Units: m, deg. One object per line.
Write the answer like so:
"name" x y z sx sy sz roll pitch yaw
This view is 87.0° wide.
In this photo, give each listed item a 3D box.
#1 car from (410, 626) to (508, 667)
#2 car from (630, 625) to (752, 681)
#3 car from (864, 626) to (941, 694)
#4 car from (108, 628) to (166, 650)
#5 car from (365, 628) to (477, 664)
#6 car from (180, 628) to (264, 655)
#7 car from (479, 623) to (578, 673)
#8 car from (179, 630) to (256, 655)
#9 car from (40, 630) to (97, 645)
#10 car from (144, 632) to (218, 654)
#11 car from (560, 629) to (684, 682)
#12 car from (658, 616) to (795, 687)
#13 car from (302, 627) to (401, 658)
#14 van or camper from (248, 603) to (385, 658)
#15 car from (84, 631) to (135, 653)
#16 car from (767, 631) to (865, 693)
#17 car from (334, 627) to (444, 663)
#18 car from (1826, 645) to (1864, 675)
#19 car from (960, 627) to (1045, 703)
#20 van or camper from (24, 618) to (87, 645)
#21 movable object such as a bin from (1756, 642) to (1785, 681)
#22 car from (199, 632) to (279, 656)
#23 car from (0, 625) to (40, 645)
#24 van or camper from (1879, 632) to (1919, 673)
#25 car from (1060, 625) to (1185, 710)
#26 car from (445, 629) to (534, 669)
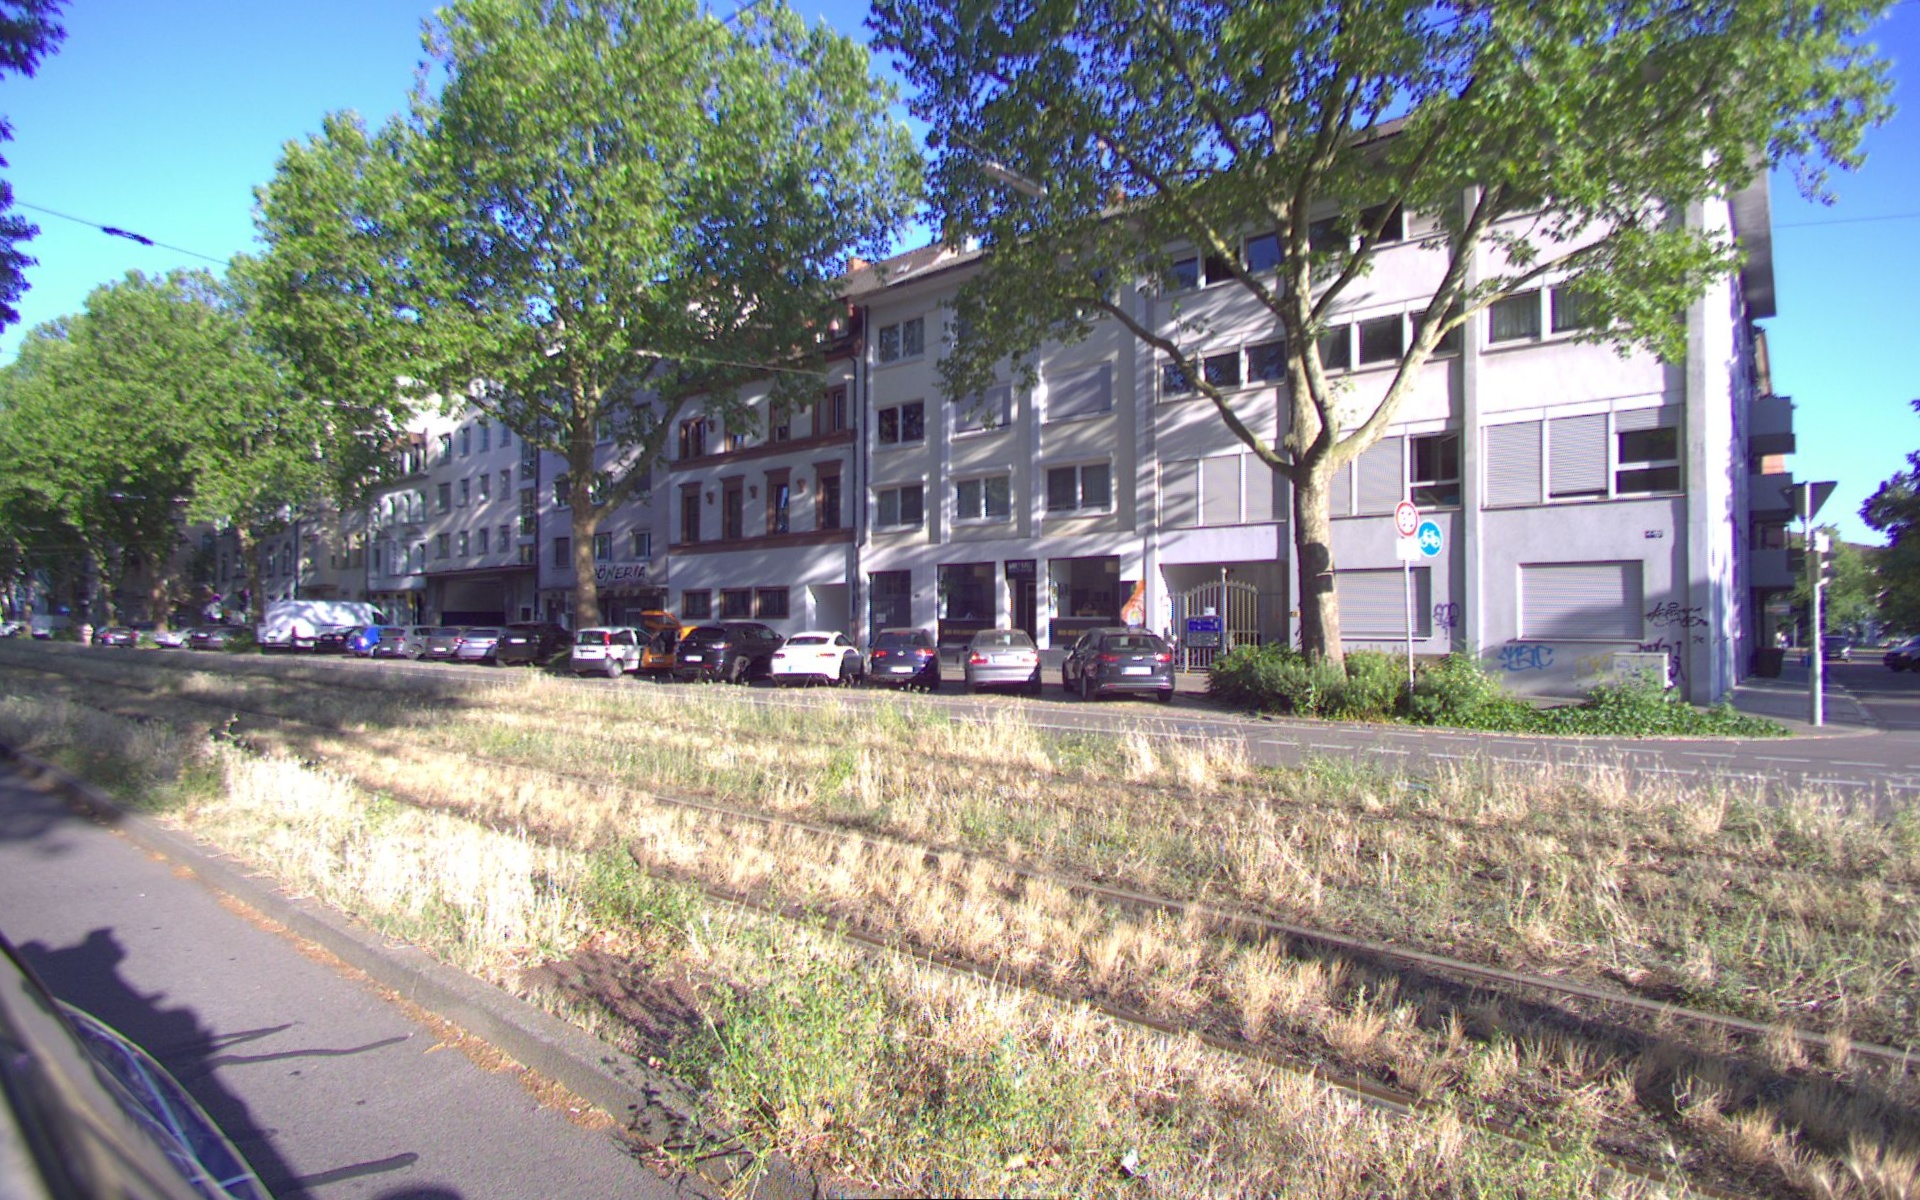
"car" -20.541 1.876 41.666 1.735 1.433 3.993 -1 0 6
"car" -8.364 1.616 31.792 1.764 1.490 3.974 -1 0 20
"car" -1.443 1.456 25.681 1.776 1.452 4.002 -1 0 -3
"car" -63.514 3.023 78.203 1.703 1.666 4.008 0 -2 -10
"car" -23.605 1.987 44.434 1.941 1.503 3.964 -1 -2 27
"car" -45.533 2.598 62.544 1.912 1.605 4.155 0 -4 4
"car" -15.684 1.703 37.015 1.972 1.673 4.000 -1 -1 -1
"car" -47.733 2.774 65.172 1.803 1.545 3.994 0 -3 4
"car" -86.021 3.612 97.685 1.709 1.256 3.993 -1 1 6
"car" -51.790 2.817 67.338 1.806 1.400 3.670 0 -2 9
"car" -10.465 1.684 31.693 1.643 1.460 4.345 0 -1 14
"car" -6.462 1.458 28.603 1.975 1.800 4.343 1 -3 14
"car" -30.748 2.131 51.253 1.984 1.502 3.975 -1 -2 18
"van or camper" -33.113 1.589 52.365 2.162 2.666 5.929 -1 -2 19
"car" -56.618 2.785 67.359 4.480 1.400 1.802 -1 -4 40
"car" -3.696 1.570 26.685 1.700 1.343 4.200 -1 0 4
"car" -26.031 2.003 46.237 1.854 1.431 3.951 -1 0 36
"car" 63.356 4.273 72.466 1.999 2.029 3.945 -1 -2 41
"car" 0.898 1.419 23.276 1.698 1.452 4.000 -1 0 -1
"van or camper" -88.327 3.076 98.888 2.171 2.418 4.364 -1 1 0
"movable object such as a bin" 27.823 2.103 34.740 0.745 1.315 0.861 -1 -2 39
"car" -43.005 2.627 60.443 1.778 1.368 4.002 0 -3 3
"car" -107.386 3.966 115.150 1.971 2.029 4.002 -1 0 -2
"van or camper" 49.854 2.652 50.806 5.084 2.029 1.991 0 -2 13
"car" 3.293 1.334 21.286 1.791 1.490 4.002 -1 0 -2
"car" -18.302 1.877 39.579 1.883 1.396 4.004 -1 -1 -5
